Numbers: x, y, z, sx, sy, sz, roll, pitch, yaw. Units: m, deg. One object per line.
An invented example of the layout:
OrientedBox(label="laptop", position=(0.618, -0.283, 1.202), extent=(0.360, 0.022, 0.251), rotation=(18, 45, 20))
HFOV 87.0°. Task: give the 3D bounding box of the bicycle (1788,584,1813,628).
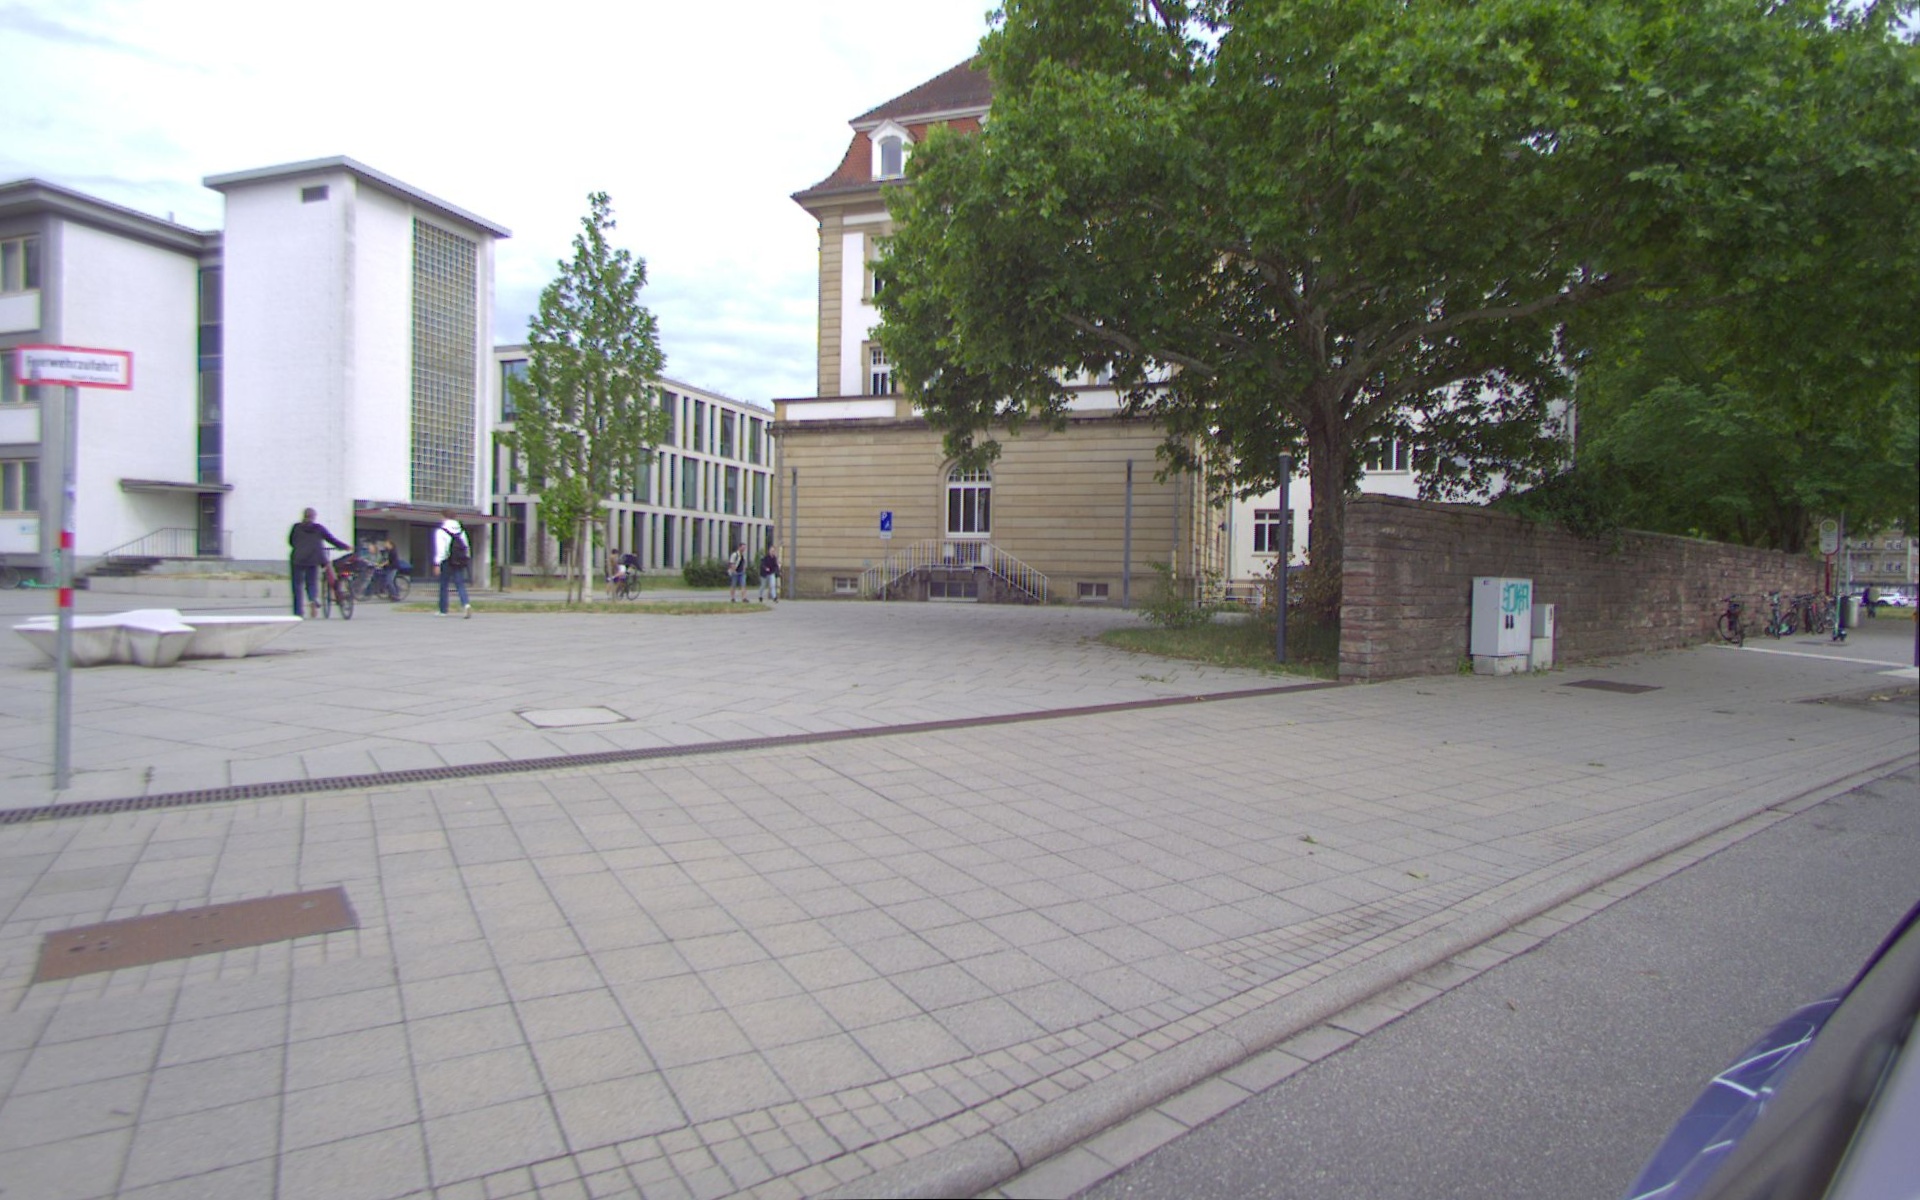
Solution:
OrientedBox(label="bicycle", position=(22.890, 0.161, 27.582), extent=(0.384, 1.158, 1.917), rotation=(0, 0, 36))

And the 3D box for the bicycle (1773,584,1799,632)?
OrientedBox(label="bicycle", position=(20.690, 0.181, 25.361), extent=(0.384, 1.158, 1.917), rotation=(0, 0, 36))

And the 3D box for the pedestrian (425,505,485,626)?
OrientedBox(label="pedestrian", position=(-8.509, -0.586, 17.044), extent=(0.650, 1.983, 0.679), rotation=(2, 2, 34))

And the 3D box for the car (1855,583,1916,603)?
OrientedBox(label="car", position=(88.511, -0.670, 96.816), extent=(1.964, 1.792, 3.997), rotation=(0, 2, -39))

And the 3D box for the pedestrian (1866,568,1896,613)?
OrientedBox(label="pedestrian", position=(43.168, -0.448, 47.430), extent=(0.778, 2.038, 0.879), rotation=(3, 3, 32))

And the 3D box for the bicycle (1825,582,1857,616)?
OrientedBox(label="bicycle", position=(28.876, -0.037, 33.157), extent=(2.046, 1.089, 0.477), rotation=(-1, 2, -41))

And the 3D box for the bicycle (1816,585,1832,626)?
OrientedBox(label="bicycle", position=(25.234, 0.141, 29.572), extent=(0.337, 1.158, 1.913), rotation=(0, 0, 41))

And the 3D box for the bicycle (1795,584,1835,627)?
OrientedBox(label="bicycle", position=(24.052, 0.151, 28.489), extent=(0.382, 1.158, 1.924), rotation=(0, 0, 25))

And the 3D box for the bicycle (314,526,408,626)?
OrientedBox(label="bicycle", position=(-9.276, -0.390, 15.666), extent=(1.635, 1.488, 0.596), rotation=(2, 2, 33))

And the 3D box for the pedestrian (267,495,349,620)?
OrientedBox(label="pedestrian", position=(-10.368, -0.670, 16.101), extent=(0.733, 1.909, 0.878), rotation=(2, 2, 34))
